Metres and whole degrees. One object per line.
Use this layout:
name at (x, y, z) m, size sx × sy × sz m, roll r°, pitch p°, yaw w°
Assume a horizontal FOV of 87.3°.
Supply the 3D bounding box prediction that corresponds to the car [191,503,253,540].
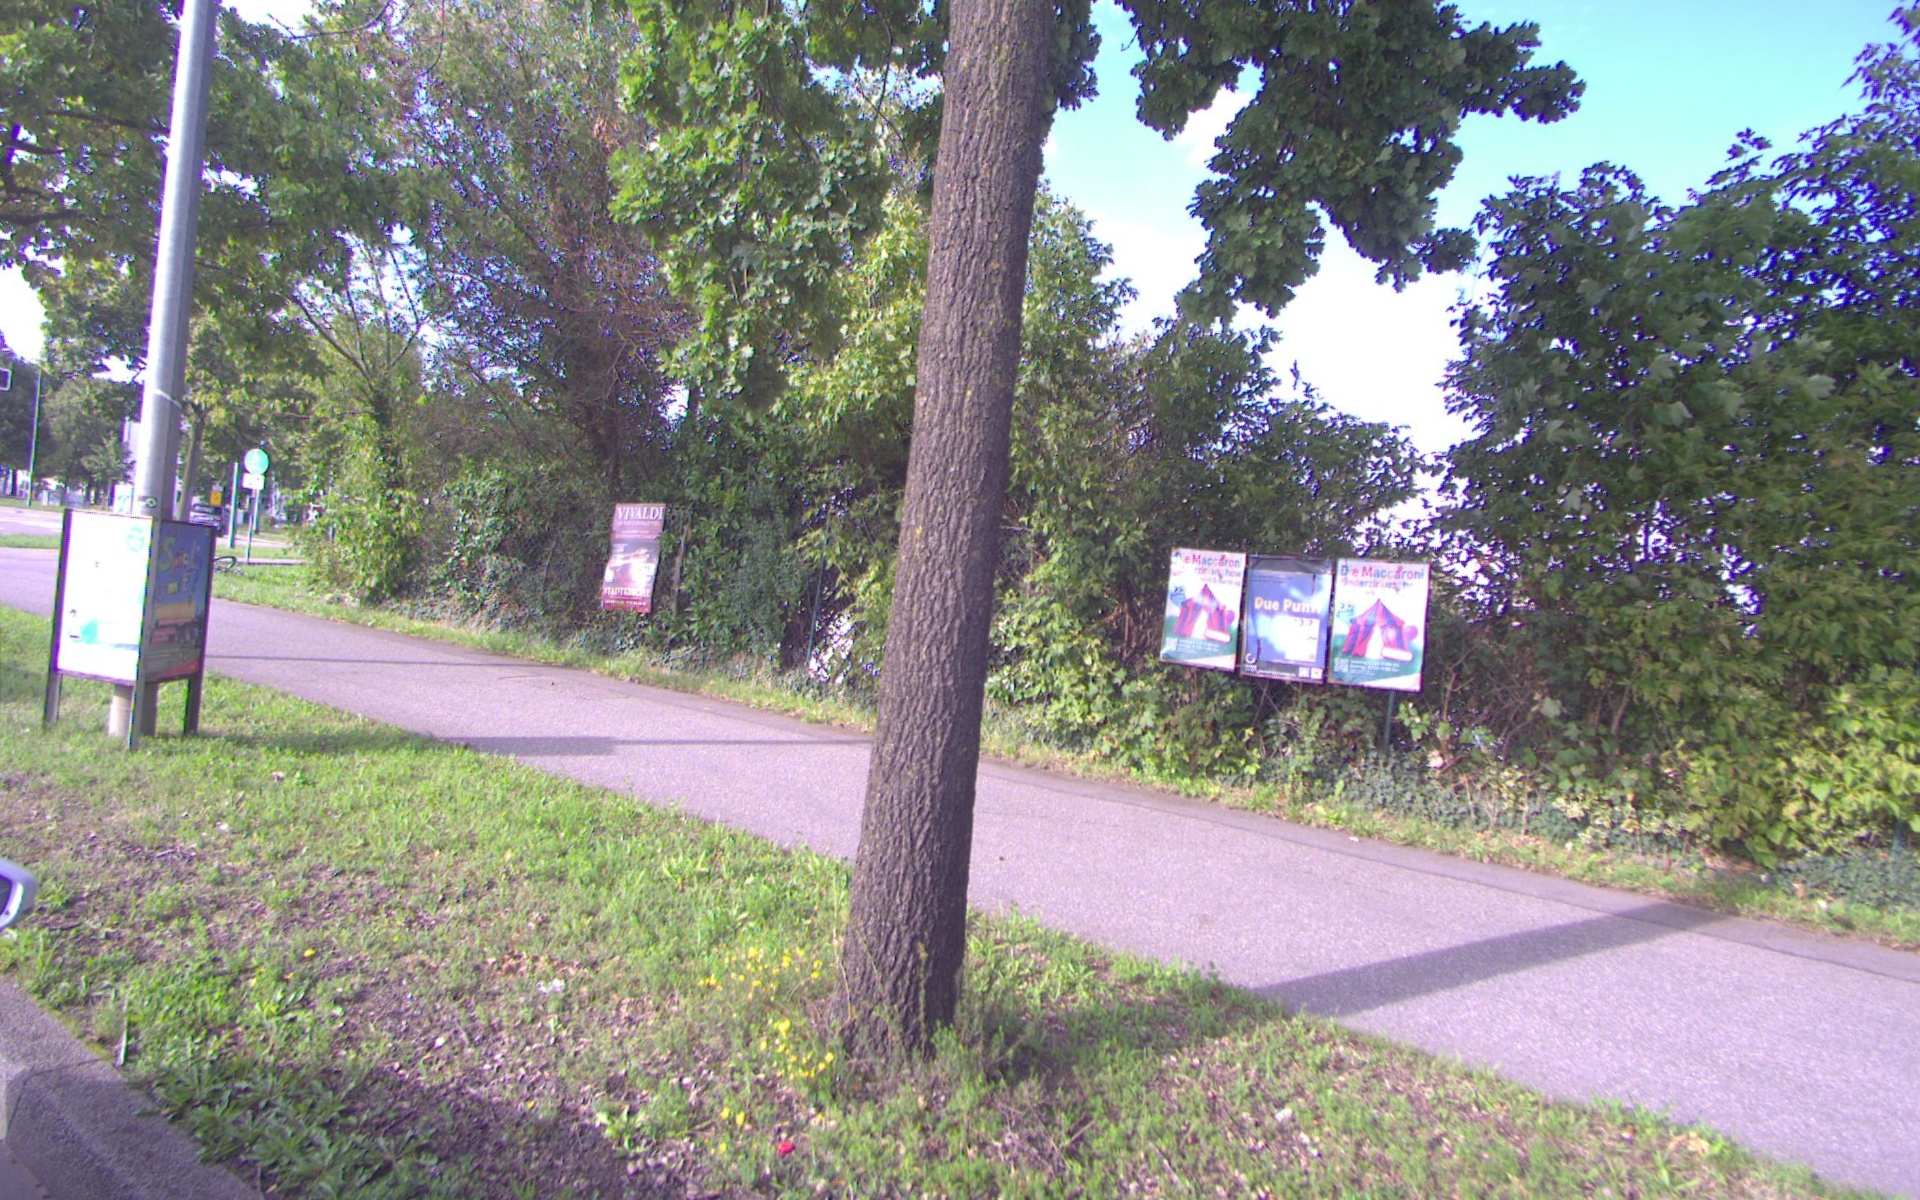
car at (-37.135, -3.932, 50.675) m, size 1.553 × 1.594 × 3.181 m, roll 7°, pitch 1°, yaw -21°

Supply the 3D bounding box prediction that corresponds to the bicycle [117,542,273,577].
bicycle at (-15.631, -0.823, 20.585) m, size 2.529 × 0.390 × 1.411 m, roll 7°, pitch 0°, yaw 21°
